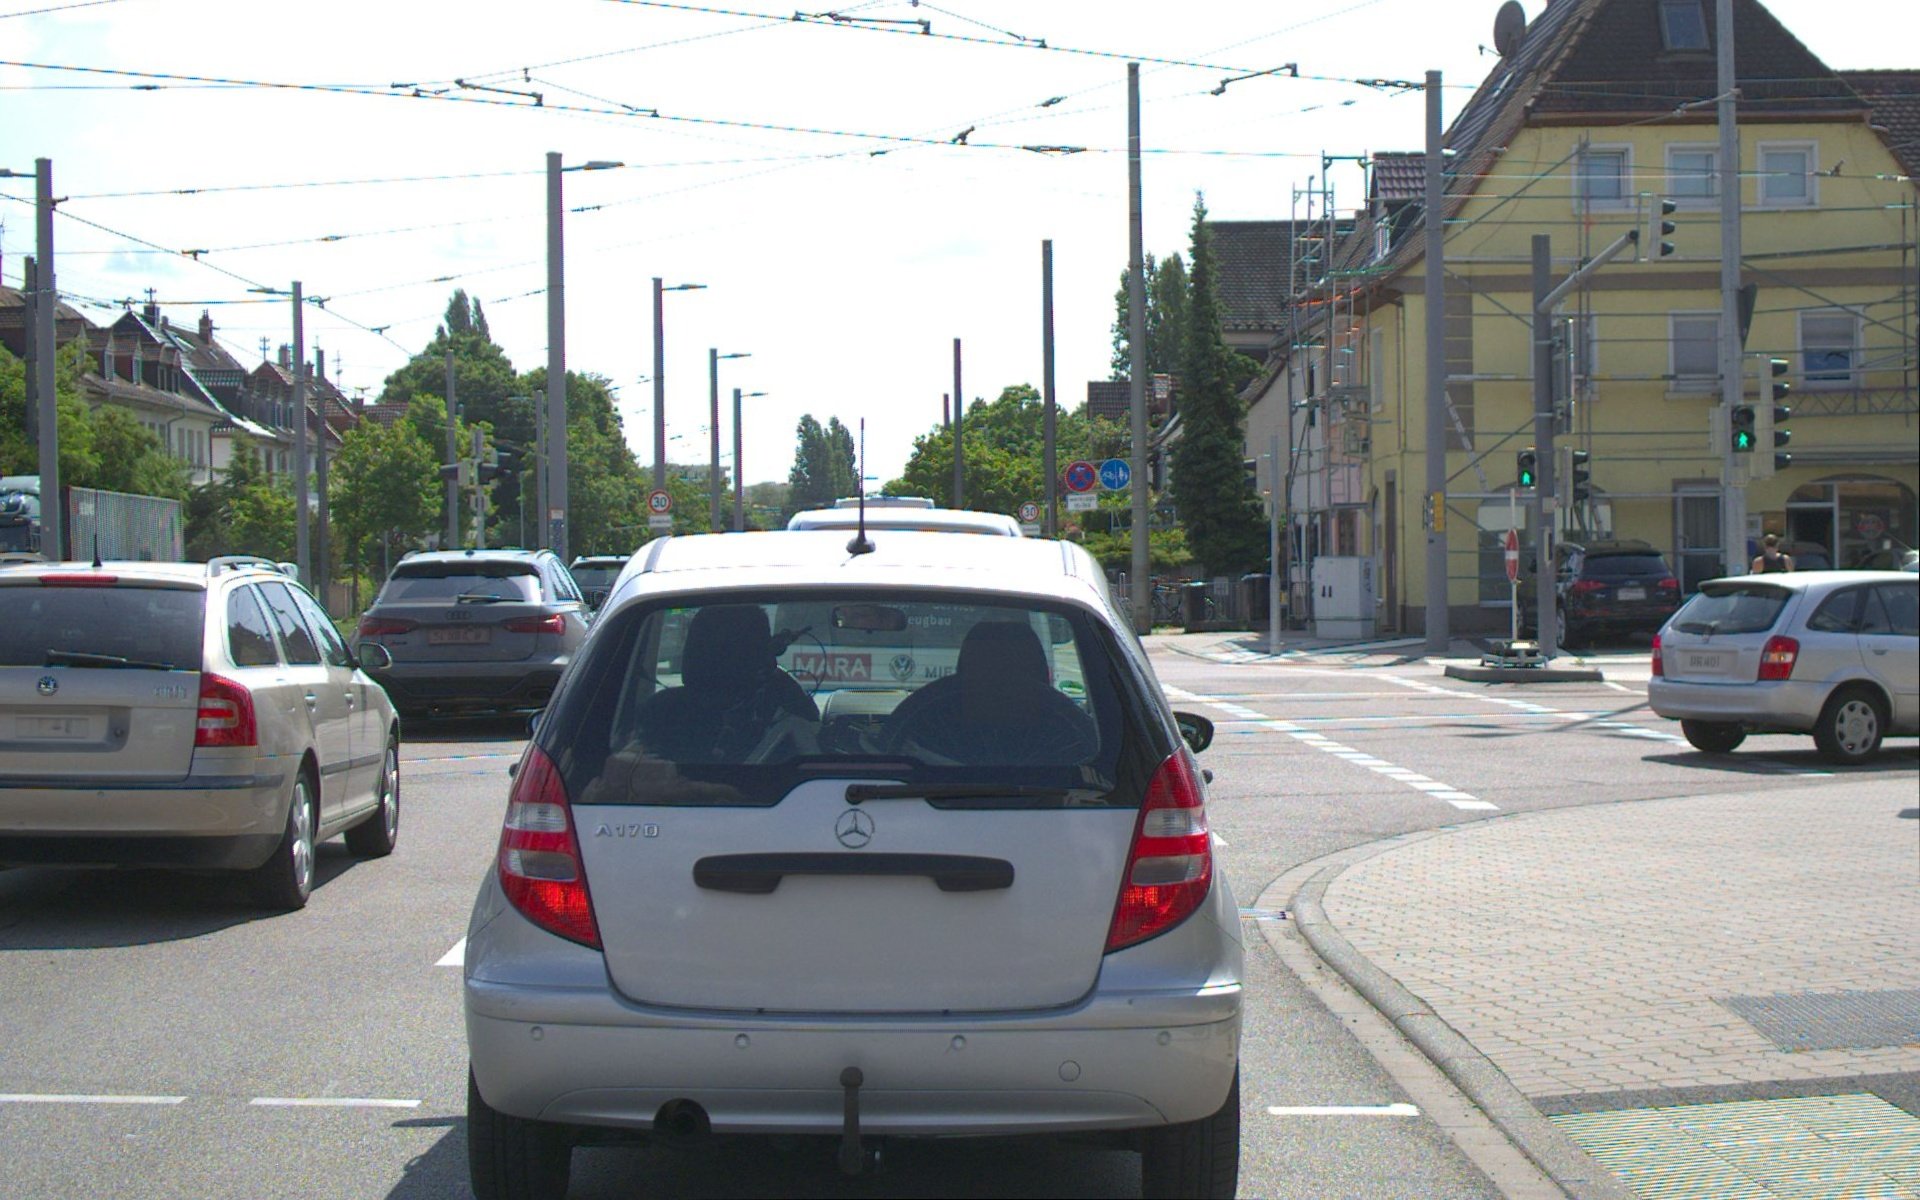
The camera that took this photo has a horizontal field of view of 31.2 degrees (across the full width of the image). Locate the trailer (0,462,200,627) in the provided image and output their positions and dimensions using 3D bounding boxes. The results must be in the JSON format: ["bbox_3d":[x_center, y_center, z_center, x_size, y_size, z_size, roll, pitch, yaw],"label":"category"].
[{"bbox_3d":[-22.202,-1.445,87.202,2.599,3.808,12.837,-3,1,1],"label":"trailer"}]

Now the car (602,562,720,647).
[{"bbox_3d":[-5.150,0.070,59.581,1.852,1.384,3.919,1,0,-3],"label":"car"}]

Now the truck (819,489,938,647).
[{"bbox_3d":[-1.442,-0.531,58.878,1.852,2.543,5.855,1,0,-3],"label":"truck"}]

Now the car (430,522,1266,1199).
[{"bbox_3d":[-0.346,0.602,9.214,1.729,1.512,4.017,1,0,-3],"label":"car"}]

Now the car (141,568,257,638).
[{"bbox_3d":[-18.823,0.065,85.215,1.794,1.631,4.471,-1,0,1],"label":"car"}]

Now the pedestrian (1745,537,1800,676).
[{"bbox_3d":[9.665,0.080,40.909,0.547,1.638,0.401,1,0,4],"label":"pedestrian"}]

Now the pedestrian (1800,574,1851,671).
[{"bbox_3d":[10.279,0.267,40.848,0.488,1.132,0.389,1,0,-1],"label":"pedestrian"}]

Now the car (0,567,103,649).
[{"bbox_3d":[-18.941,0.178,69.792,1.993,1.547,4.178,-4,0,-1],"label":"car"}]

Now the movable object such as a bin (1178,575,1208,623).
[{"bbox_3d":[4.434,-0.021,65.524,0.511,0.915,0.741,0,0,0],"label":"movable object such as a bin"}]

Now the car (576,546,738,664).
[{"bbox_3d":[-3.786,0.054,43.610,1.852,1.384,4.515,1,0,-3],"label":"car"}]

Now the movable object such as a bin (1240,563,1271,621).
[{"bbox_3d":[5.643,-0.145,65.642,0.511,1.101,0.855,0,0,0],"label":"movable object such as a bin"}]

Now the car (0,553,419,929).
[{"bbox_3d":[-3.598,0.538,15.415,1.731,1.444,4.123,1,0,-1],"label":"car"}]

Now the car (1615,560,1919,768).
[{"bbox_3d":[7.115,0.472,26.175,4.003,1.398,1.736,1,3,-32],"label":"car"}]

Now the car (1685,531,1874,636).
[{"bbox_3d":[13.172,-0.263,55.491,1.993,1.590,4.131,1,0,-1],"label":"car"}]

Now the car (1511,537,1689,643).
[{"bbox_3d":[10.160,-0.160,54.895,1.993,1.590,4.131,1,0,-1],"label":"car"}]

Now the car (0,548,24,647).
[{"bbox_3d":[-18.139,0.009,60.194,1.993,1.770,4.878,-2,1,1],"label":"car"}]

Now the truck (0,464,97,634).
[{"bbox_3d":[-22.326,-1.173,80.240,2.599,3.808,5.667,-3,1,2],"label":"truck"}]

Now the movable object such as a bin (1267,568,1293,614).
[{"bbox_3d":[6.647,-0.181,71.424,0.468,0.943,0.558,-1,0,-1],"label":"movable object such as a bin"}]

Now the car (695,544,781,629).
[{"bbox_3d":[-5.012,-0.303,78.124,1.852,1.837,3.919,1,0,-3],"label":"car"}]

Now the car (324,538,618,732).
[{"bbox_3d":[-4.010,0.254,28.891,1.916,1.472,4.562,1,0,-2],"label":"car"}]

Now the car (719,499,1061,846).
[{"bbox_3d":[-0.448,0.370,19.694,1.730,1.756,4.017,1,0,-3],"label":"car"}]

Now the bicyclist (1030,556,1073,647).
[{"bbox_3d":[1.758,0.029,66.416,0.650,1.732,0.984,1,0,-8],"label":"bicyclist"}]

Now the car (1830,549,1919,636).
[{"bbox_3d":[15.431,-0.108,55.088,1.867,1.347,4.131,1,0,-1],"label":"car"}]

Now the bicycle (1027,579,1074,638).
[{"bbox_3d":[1.736,0.162,66.314,0.650,1.114,1.588,1,0,-8],"label":"bicycle"}]
